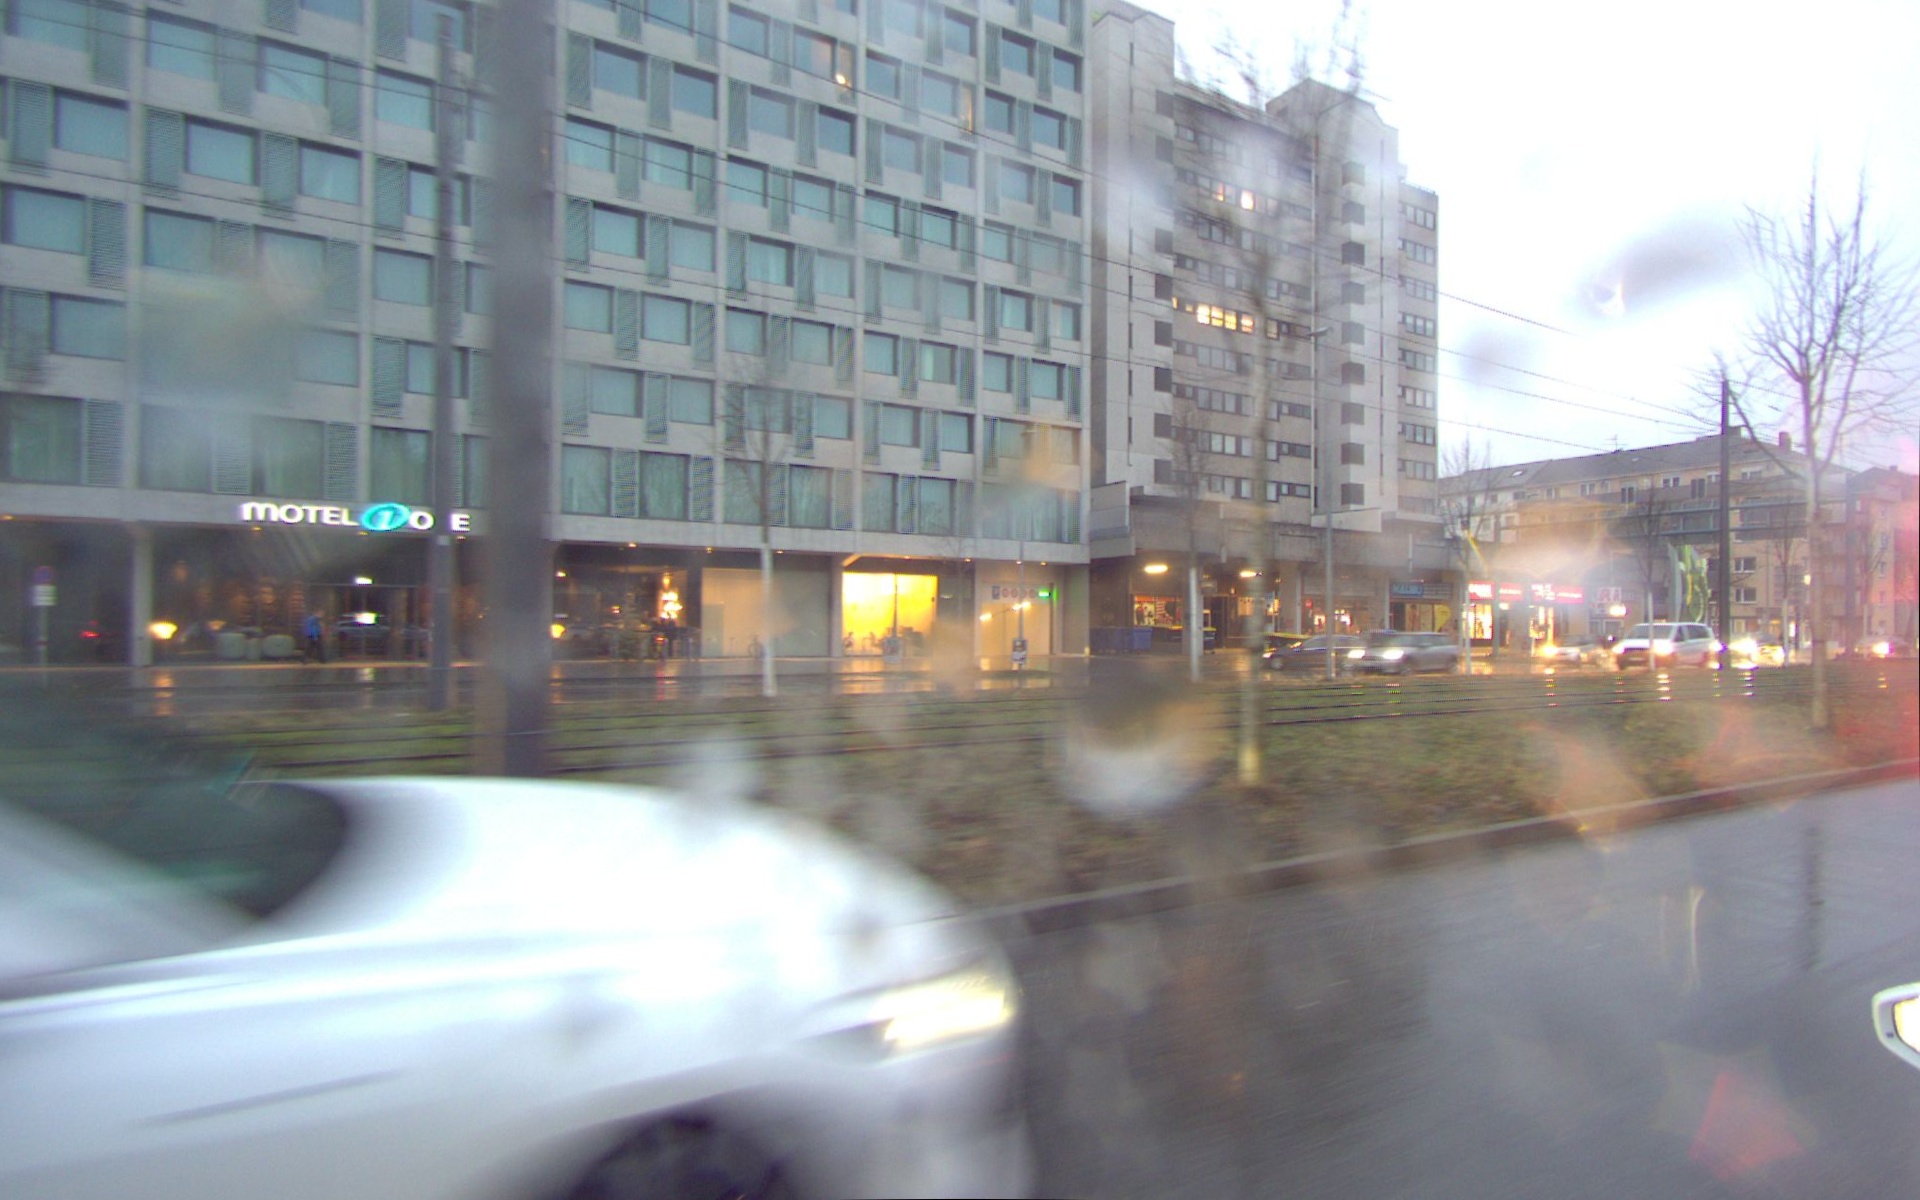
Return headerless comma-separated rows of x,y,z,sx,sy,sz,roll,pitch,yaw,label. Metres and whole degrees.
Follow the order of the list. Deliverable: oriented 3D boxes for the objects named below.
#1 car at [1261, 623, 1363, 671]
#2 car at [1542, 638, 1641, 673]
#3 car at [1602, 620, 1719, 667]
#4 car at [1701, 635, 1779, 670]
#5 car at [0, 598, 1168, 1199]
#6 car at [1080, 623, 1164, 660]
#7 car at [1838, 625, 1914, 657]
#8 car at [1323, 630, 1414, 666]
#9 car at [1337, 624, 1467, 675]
14.694,1.943,42.058,3.846,1.910,1.729,0,-1,13,car
28.917,2.503,45.959,4.736,1.536,1.887,1,-1,-30,car
27.652,1.682,39.614,5.059,1.741,1.887,1,-1,-31,car
43.028,2.882,55.369,4.477,1.837,1.887,1,-1,-30,car
-2.037,0.711,1.588,4.559,1.424,1.838,2,0,-30,car
8.012,2.037,50.048,1.709,1.718,4.336,1,-1,-32,car
53.192,2.362,58.316,4.858,1.742,1.887,1,-1,-30,car
19.751,2.282,48.530,3.925,1.405,1.935,3,1,25,car
13.460,1.471,30.577,3.664,1.450,1.886,1,-1,-31,car
